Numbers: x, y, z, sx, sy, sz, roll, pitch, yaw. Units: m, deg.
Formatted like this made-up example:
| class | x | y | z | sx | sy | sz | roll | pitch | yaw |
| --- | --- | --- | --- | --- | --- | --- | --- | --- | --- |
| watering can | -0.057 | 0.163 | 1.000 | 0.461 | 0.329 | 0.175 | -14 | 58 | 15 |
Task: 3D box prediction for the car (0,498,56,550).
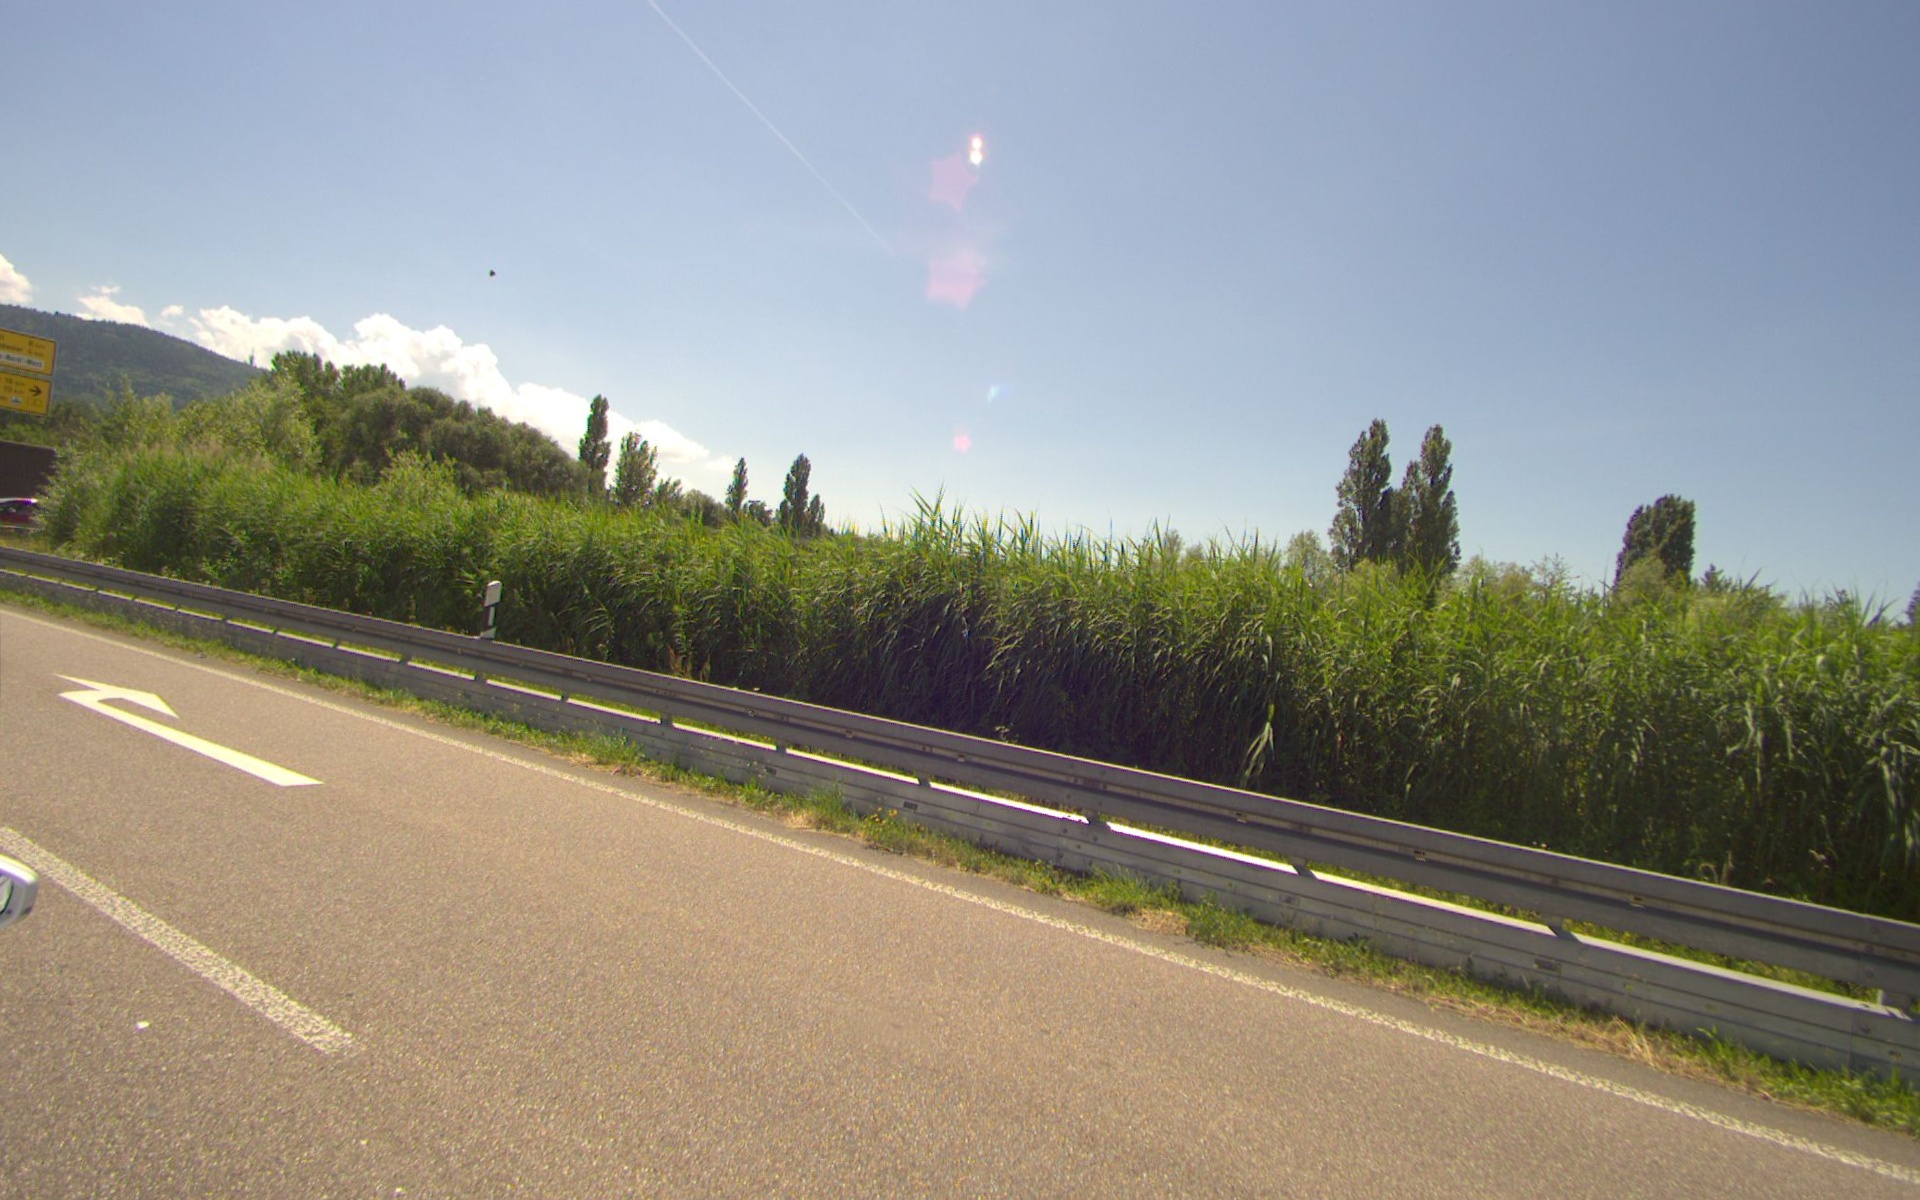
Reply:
| class | x | y | z | sx | sy | sz | roll | pitch | yaw |
| --- | --- | --- | --- | --- | --- | --- | --- | --- | --- |
| car | -36.463 | -3.041 | 36.978 | 1.966 | 1.676 | 4.320 | 7 | -2 | 28 |
